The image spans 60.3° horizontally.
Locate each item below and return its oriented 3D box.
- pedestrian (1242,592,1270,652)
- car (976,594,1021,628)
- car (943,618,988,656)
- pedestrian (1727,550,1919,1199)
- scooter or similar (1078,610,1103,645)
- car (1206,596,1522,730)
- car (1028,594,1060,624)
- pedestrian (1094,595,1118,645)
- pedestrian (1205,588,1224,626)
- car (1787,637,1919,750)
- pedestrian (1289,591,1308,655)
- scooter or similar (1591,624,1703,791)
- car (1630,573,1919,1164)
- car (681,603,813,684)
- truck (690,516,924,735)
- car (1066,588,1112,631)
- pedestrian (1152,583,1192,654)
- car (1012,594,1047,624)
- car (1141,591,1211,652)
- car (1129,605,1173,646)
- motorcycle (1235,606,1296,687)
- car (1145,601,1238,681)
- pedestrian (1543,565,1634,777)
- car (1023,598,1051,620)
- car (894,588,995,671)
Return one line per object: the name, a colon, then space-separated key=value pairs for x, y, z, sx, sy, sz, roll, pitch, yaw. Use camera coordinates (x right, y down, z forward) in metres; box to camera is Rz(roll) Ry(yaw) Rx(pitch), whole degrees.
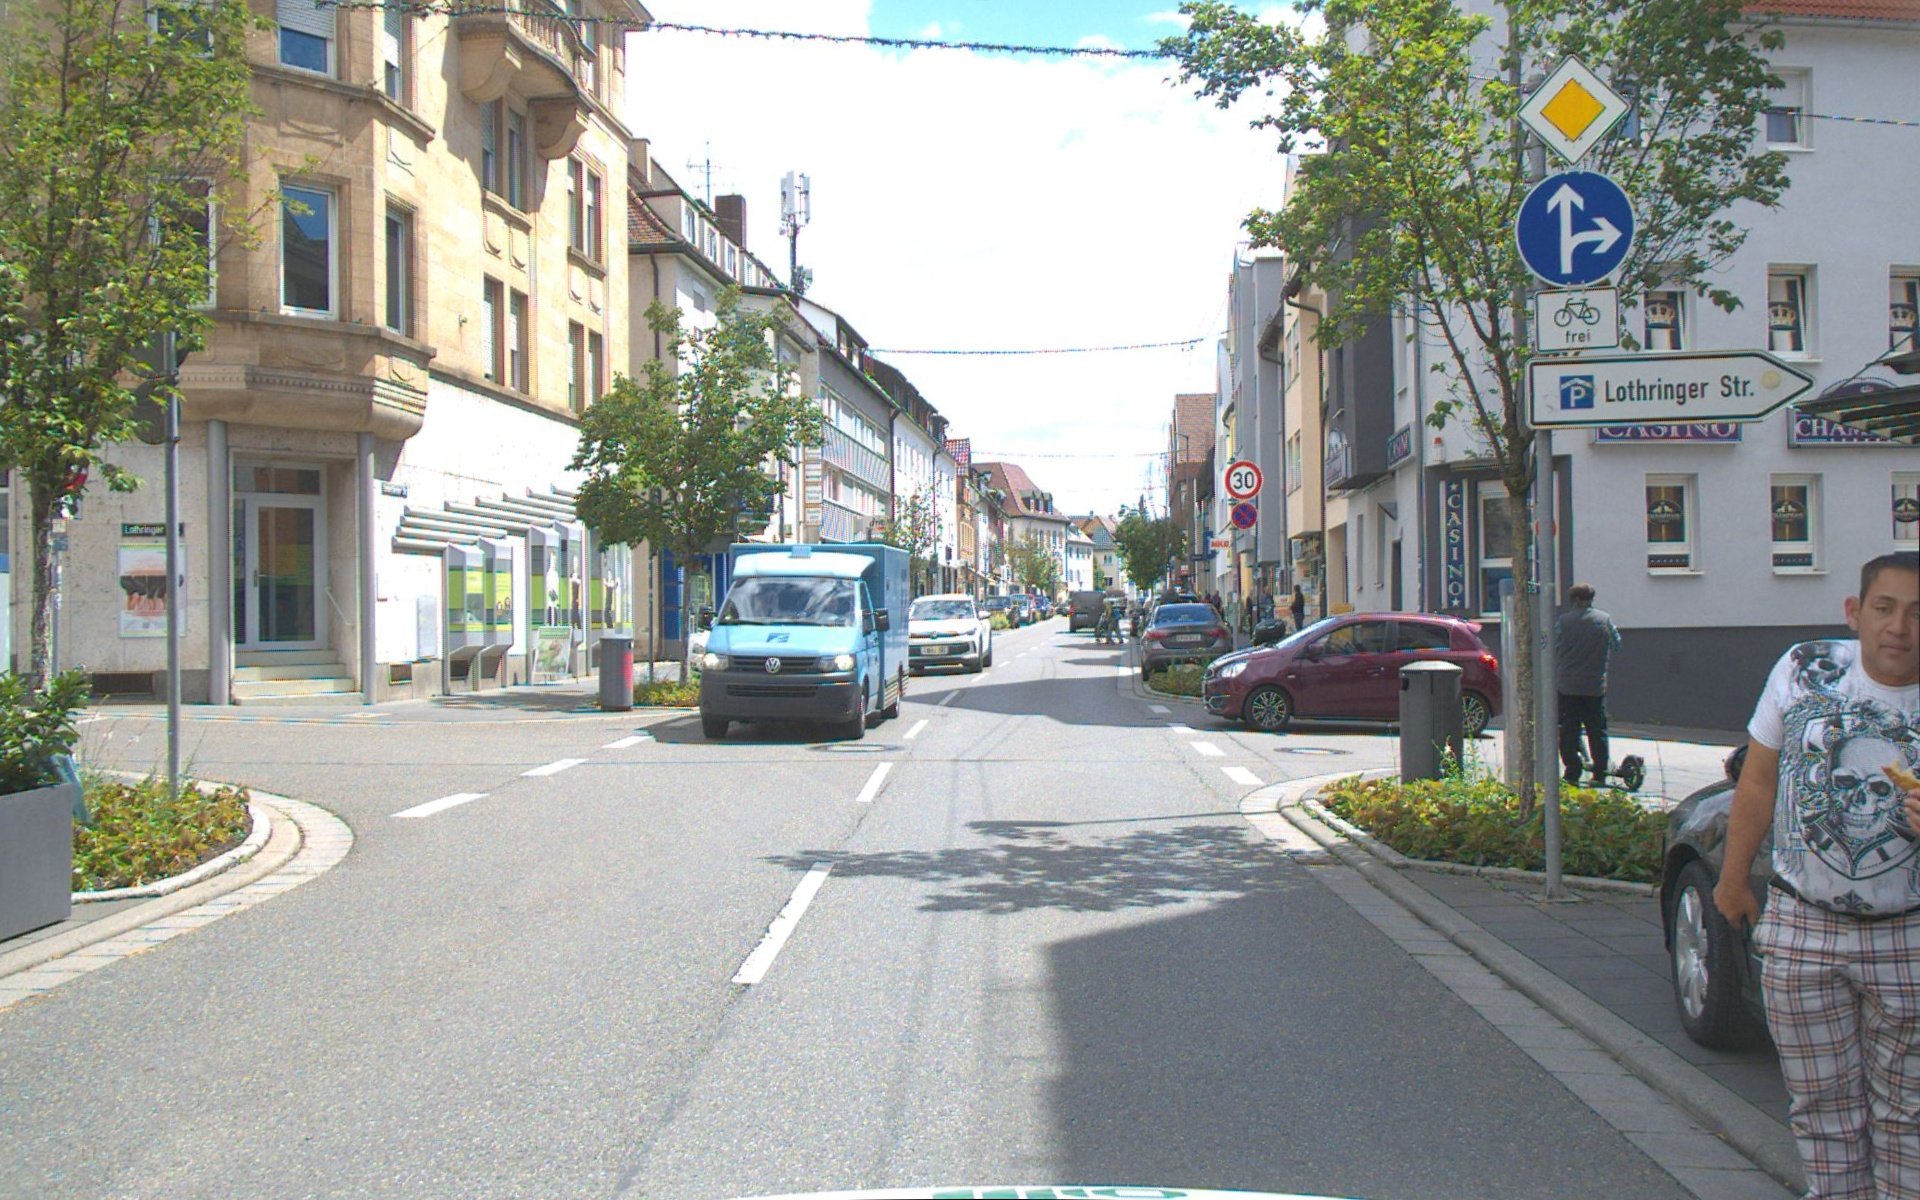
pedestrian: x=8.722 y=0.658 z=48.708 sx=0.728 sy=1.748 sz=0.656 roll=-1 pitch=-1 yaw=4
car: x=2.080 y=0.608 z=88.517 sx=1.777 sy=1.786 sz=4.672 roll=1 pitch=-1 yaw=9
car: x=0.261 y=1.549 z=71.116 sx=1.753 sy=1.530 sz=4.179 roll=1 pitch=0 yaw=3
pedestrian: x=2.092 y=0.711 z=3.793 sx=0.571 sy=1.628 sz=0.548 roll=0 pitch=-1 yaw=23
scooter or similar: x=4.343 y=0.916 z=55.121 sx=0.765 sy=1.145 sz=0.630 roll=1 pitch=-1 yaw=1
car: x=5.002 y=0.774 z=20.833 sx=3.667 sy=1.557 sz=1.538 roll=1 pitch=-1 yaw=5
car: x=5.611 y=0.624 z=109.944 sx=1.777 sy=1.922 sz=4.844 roll=1 pitch=-1 yaw=7
pedestrian: x=4.857 y=0.657 z=55.104 sx=0.716 sy=1.646 sz=0.651 roll=1 pitch=-1 yaw=1
pedestrian: x=10.831 y=0.293 z=70.463 sx=0.734 sy=1.580 sz=0.726 roll=-1 pitch=-1 yaw=5
car: x=13.807 y=1.388 z=22.867 sx=3.805 sy=1.423 sz=1.847 roll=5 pitch=-1 yaw=-6
pedestrian: x=9.302 y=0.643 z=45.510 sx=0.426 sy=1.748 sz=0.537 roll=1 pitch=-1 yaw=3
scooter or similar: x=5.644 y=0.852 z=13.641 sx=0.422 sy=1.303 sz=1.249 roll=1 pitch=-1 yaw=1
car: x=3.224 y=0.666 z=3.844 sx=1.679 sy=1.479 sz=4.554 roll=0 pitch=0 yaw=3
car: x=-4.039 y=0.815 z=31.967 sx=1.807 sy=1.422 sz=4.038 roll=1 pitch=-1 yaw=3
truck: x=-1.735 y=0.317 z=21.226 sx=2.062 sy=2.346 sz=6.478 roll=1 pitch=-1 yaw=3
car: x=5.874 y=0.437 z=75.762 sx=1.998 sy=1.881 sz=5.001 roll=1 pitch=-1 yaw=4
pedestrian: x=5.834 y=0.514 z=45.579 sx=0.955 sy=1.896 sz=0.865 roll=-2 pitch=-1 yaw=4
car: x=4.309 y=0.570 z=102.089 sx=1.777 sy=1.786 sz=4.467 roll=1 pitch=-1 yaw=7
car: x=6.234 y=0.606 z=48.149 sx=1.761 sy=1.631 sz=4.206 roll=-2 pitch=0 yaw=5
car: x=7.820 y=1.012 z=68.019 sx=1.653 sy=1.497 sz=4.527 roll=1 pitch=1 yaw=5
motorcycle: x=5.043 y=0.752 z=27.410 sx=0.645 sy=1.281 sz=2.376 roll=1 pitch=-1 yaw=2
car: x=4.572 y=0.787 z=32.614 sx=1.670 sy=1.445 sz=4.321 roll=1 pitch=-1 yaw=8
pedestrian: x=5.238 y=0.583 z=13.798 sx=0.559 sy=1.733 sz=0.481 roll=1 pitch=-1 yaw=-1
car: x=5.707 y=0.672 z=122.246 sx=1.761 sy=1.626 sz=4.392 roll=0 pitch=0 yaw=6
car: x=-0.270 y=0.629 z=35.822 sx=1.750 sy=1.669 sz=4.118 roll=1 pitch=-1 yaw=5
